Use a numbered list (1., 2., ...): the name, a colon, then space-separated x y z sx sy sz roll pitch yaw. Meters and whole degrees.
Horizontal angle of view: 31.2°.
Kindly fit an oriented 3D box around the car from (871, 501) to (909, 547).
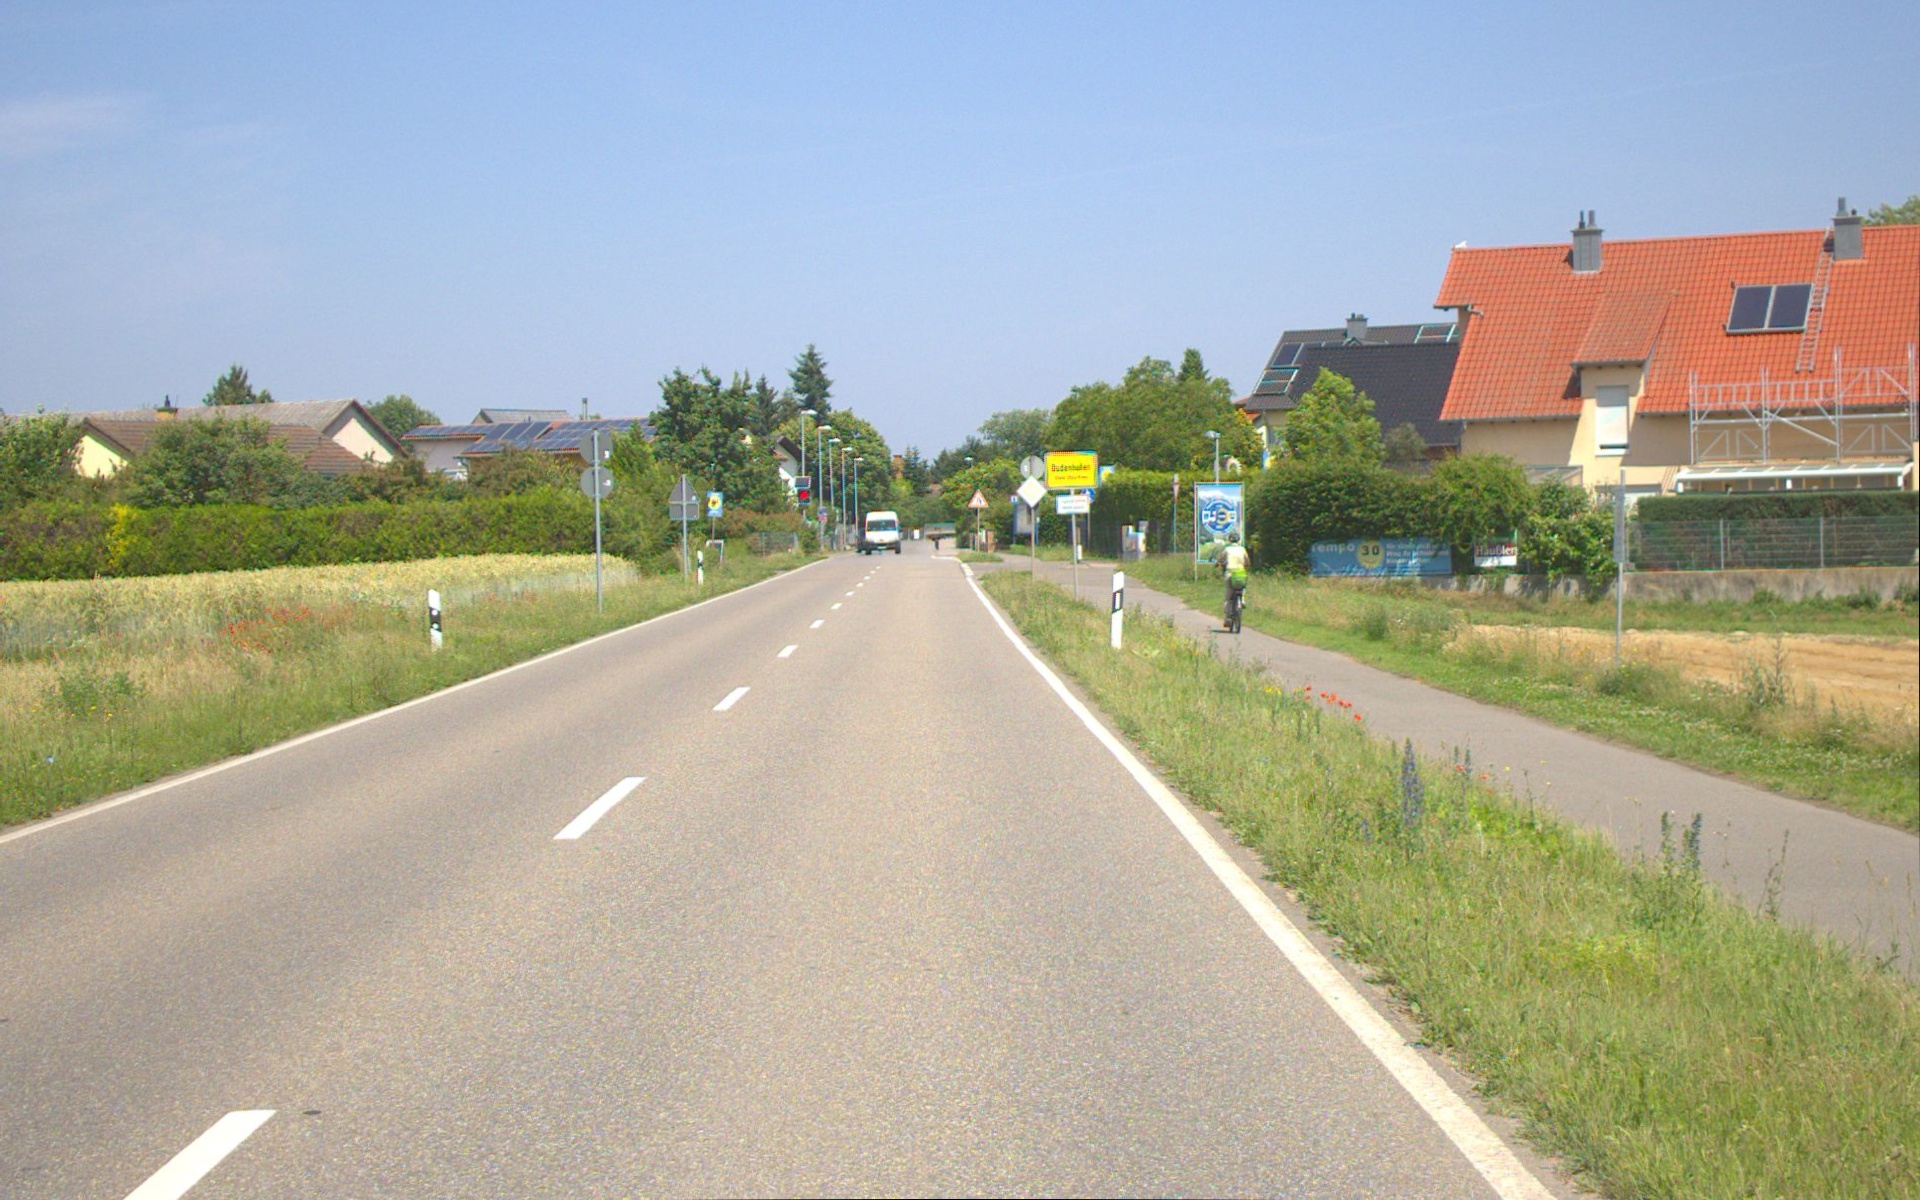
1. car: -4.087 -4.478 201.004 2.077 2.533 5.874 -2 2 -1

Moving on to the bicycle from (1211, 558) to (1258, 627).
1. bicycle: 4.933 -0.143 61.897 0.610 1.154 2.274 0 2 -1

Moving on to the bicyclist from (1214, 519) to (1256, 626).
1. bicyclist: 4.937 -0.500 61.770 0.645 1.883 0.861 0 2 -1
